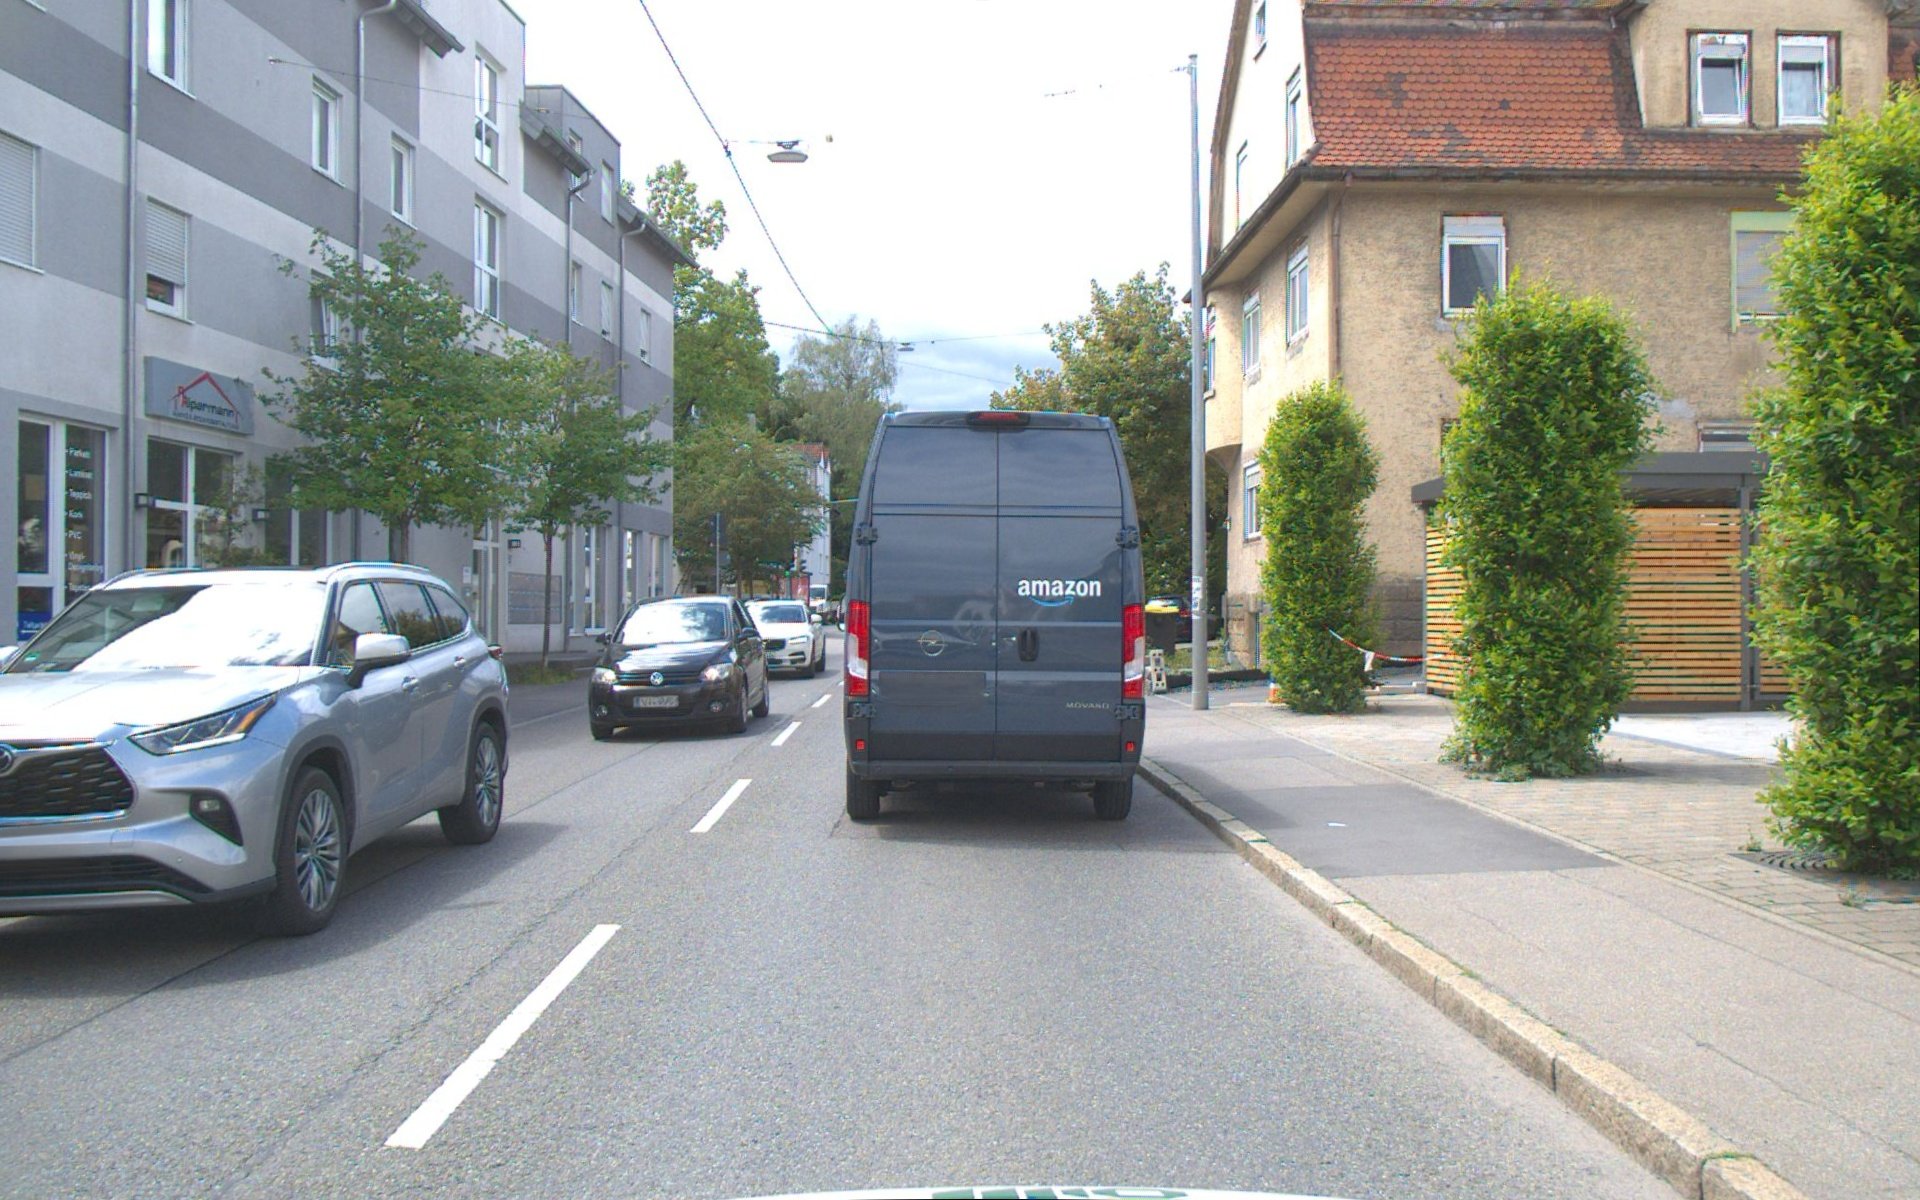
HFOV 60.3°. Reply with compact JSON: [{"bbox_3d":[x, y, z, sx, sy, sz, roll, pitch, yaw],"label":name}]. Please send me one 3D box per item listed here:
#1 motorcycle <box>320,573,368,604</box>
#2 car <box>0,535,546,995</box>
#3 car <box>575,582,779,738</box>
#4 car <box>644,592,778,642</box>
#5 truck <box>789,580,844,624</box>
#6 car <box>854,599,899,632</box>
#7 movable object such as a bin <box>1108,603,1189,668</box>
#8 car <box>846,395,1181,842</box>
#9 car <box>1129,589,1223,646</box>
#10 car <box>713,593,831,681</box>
[{"bbox_3d":[-21.401,-0.400,57.492,1.180,1.022,2.332,1,0,-11],"label":"motorcycle"},{"bbox_3d":[-3.819,0.680,8.905,1.946,1.768,4.795,-3,0,-1],"label":"car"},{"bbox_3d":[-3.241,0.640,19.656,1.795,1.612,4.036,-2,0,-2],"label":"car"},{"bbox_3d":[-8.226,0.561,54.873,4.125,1.540,1.822,1,1,0],"label":"car"},{"bbox_3d":[-8.283,0.160,96.005,2.178,2.421,6.328,1,-1,4],"label":"truck"},{"bbox_3d":[-3.888,0.697,77.250,1.835,1.449,4.115,1,0,1],"label":"car"},{"bbox_3d":[3.868,0.715,34.000,1.170,1.288,1.197,1,0,-31],"label":"movable object such as a bin"},{"bbox_3d":[0.213,0.123,13.598,2.105,2.819,6.246,0,0,-3],"label":"car"},{"bbox_3d":[6.861,0.529,52.225,1.717,1.543,4.077,-3,0,25],"label":"car"},{"bbox_3d":[-3.718,0.695,33.480,1.859,1.587,4.799,-2,0,-1],"label":"car"}]
